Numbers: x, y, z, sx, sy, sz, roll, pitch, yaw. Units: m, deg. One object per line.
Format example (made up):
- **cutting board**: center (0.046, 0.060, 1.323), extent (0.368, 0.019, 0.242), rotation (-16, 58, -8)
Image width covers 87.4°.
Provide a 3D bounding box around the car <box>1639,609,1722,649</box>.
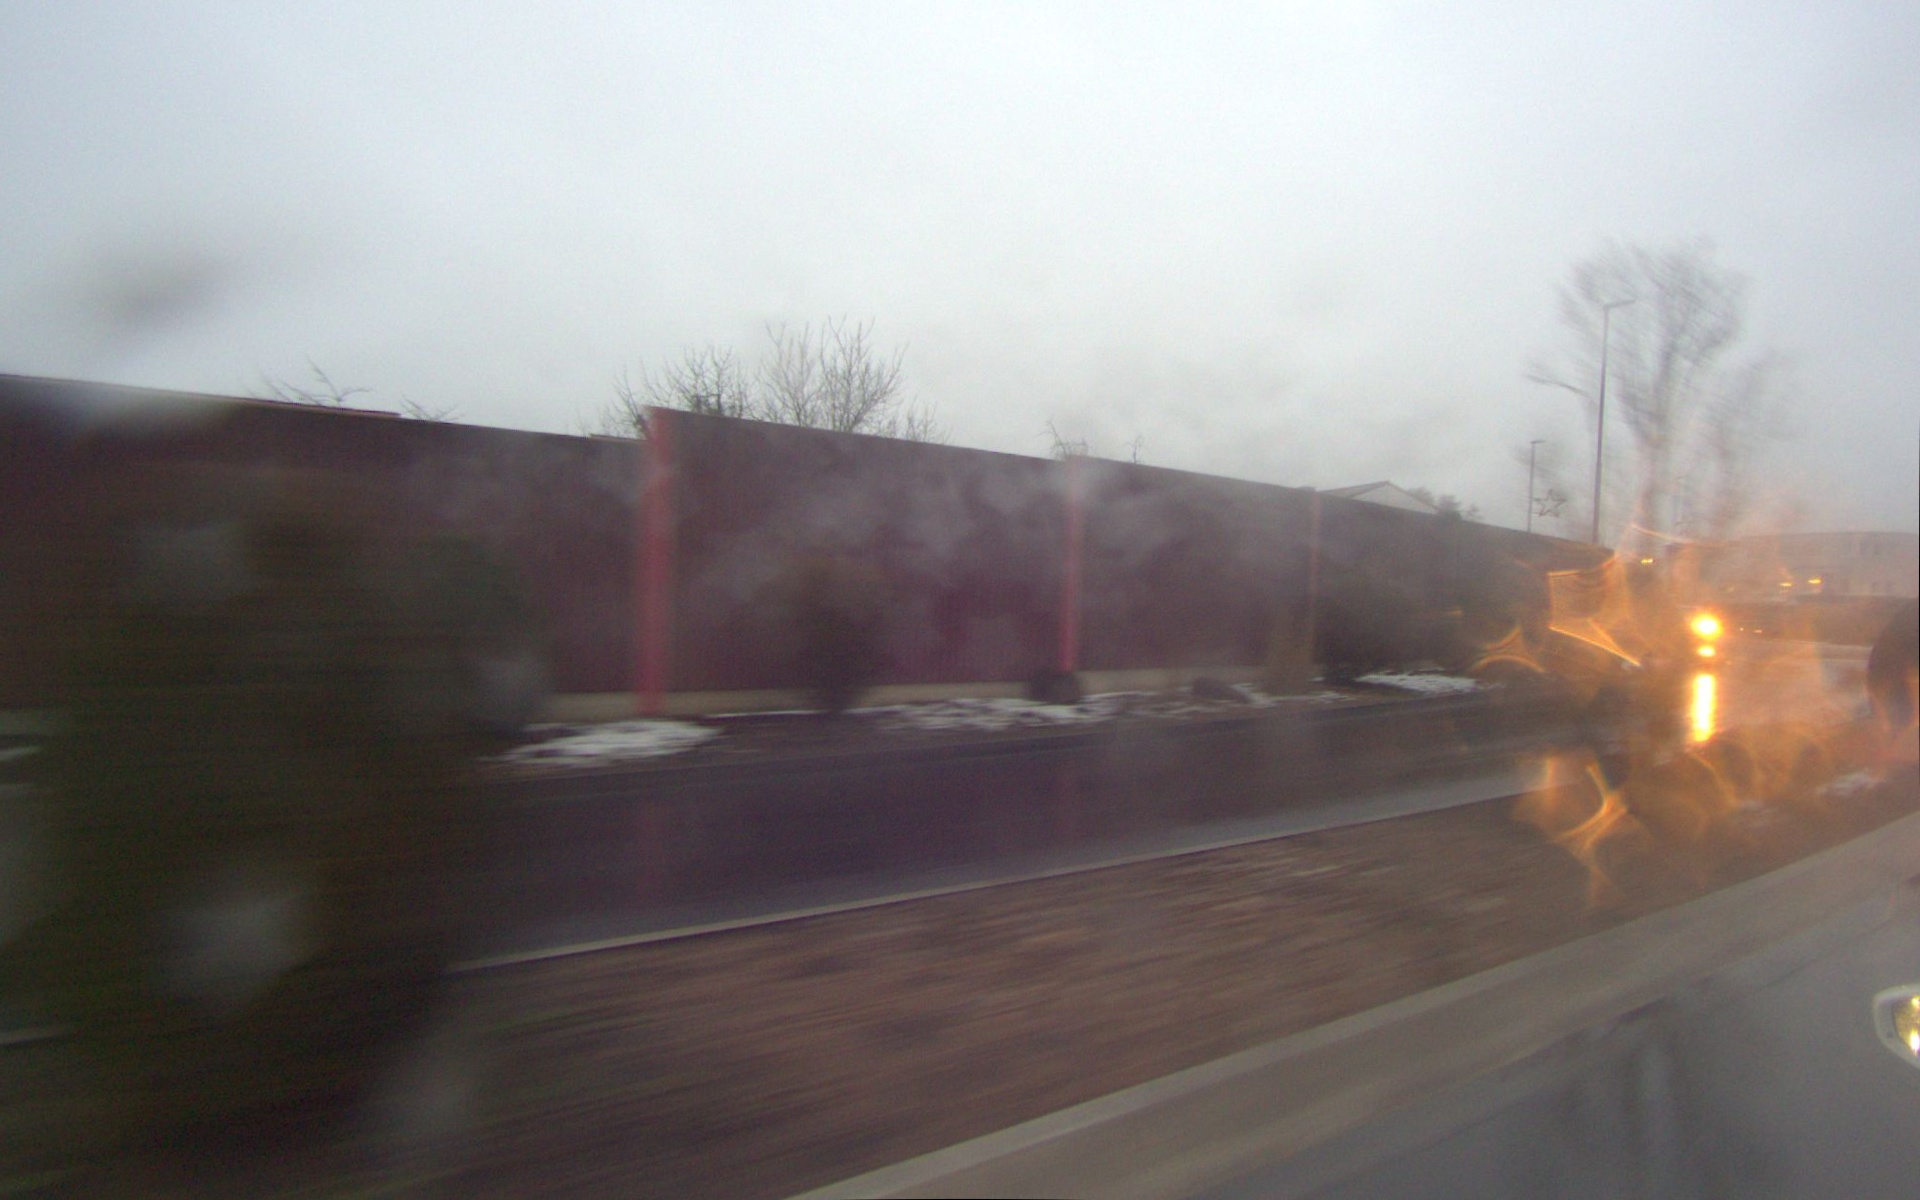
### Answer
- **car**: center (29.477, 1.153, 41.186), extent (1.580, 1.489, 3.686), rotation (1, 0, 16)
